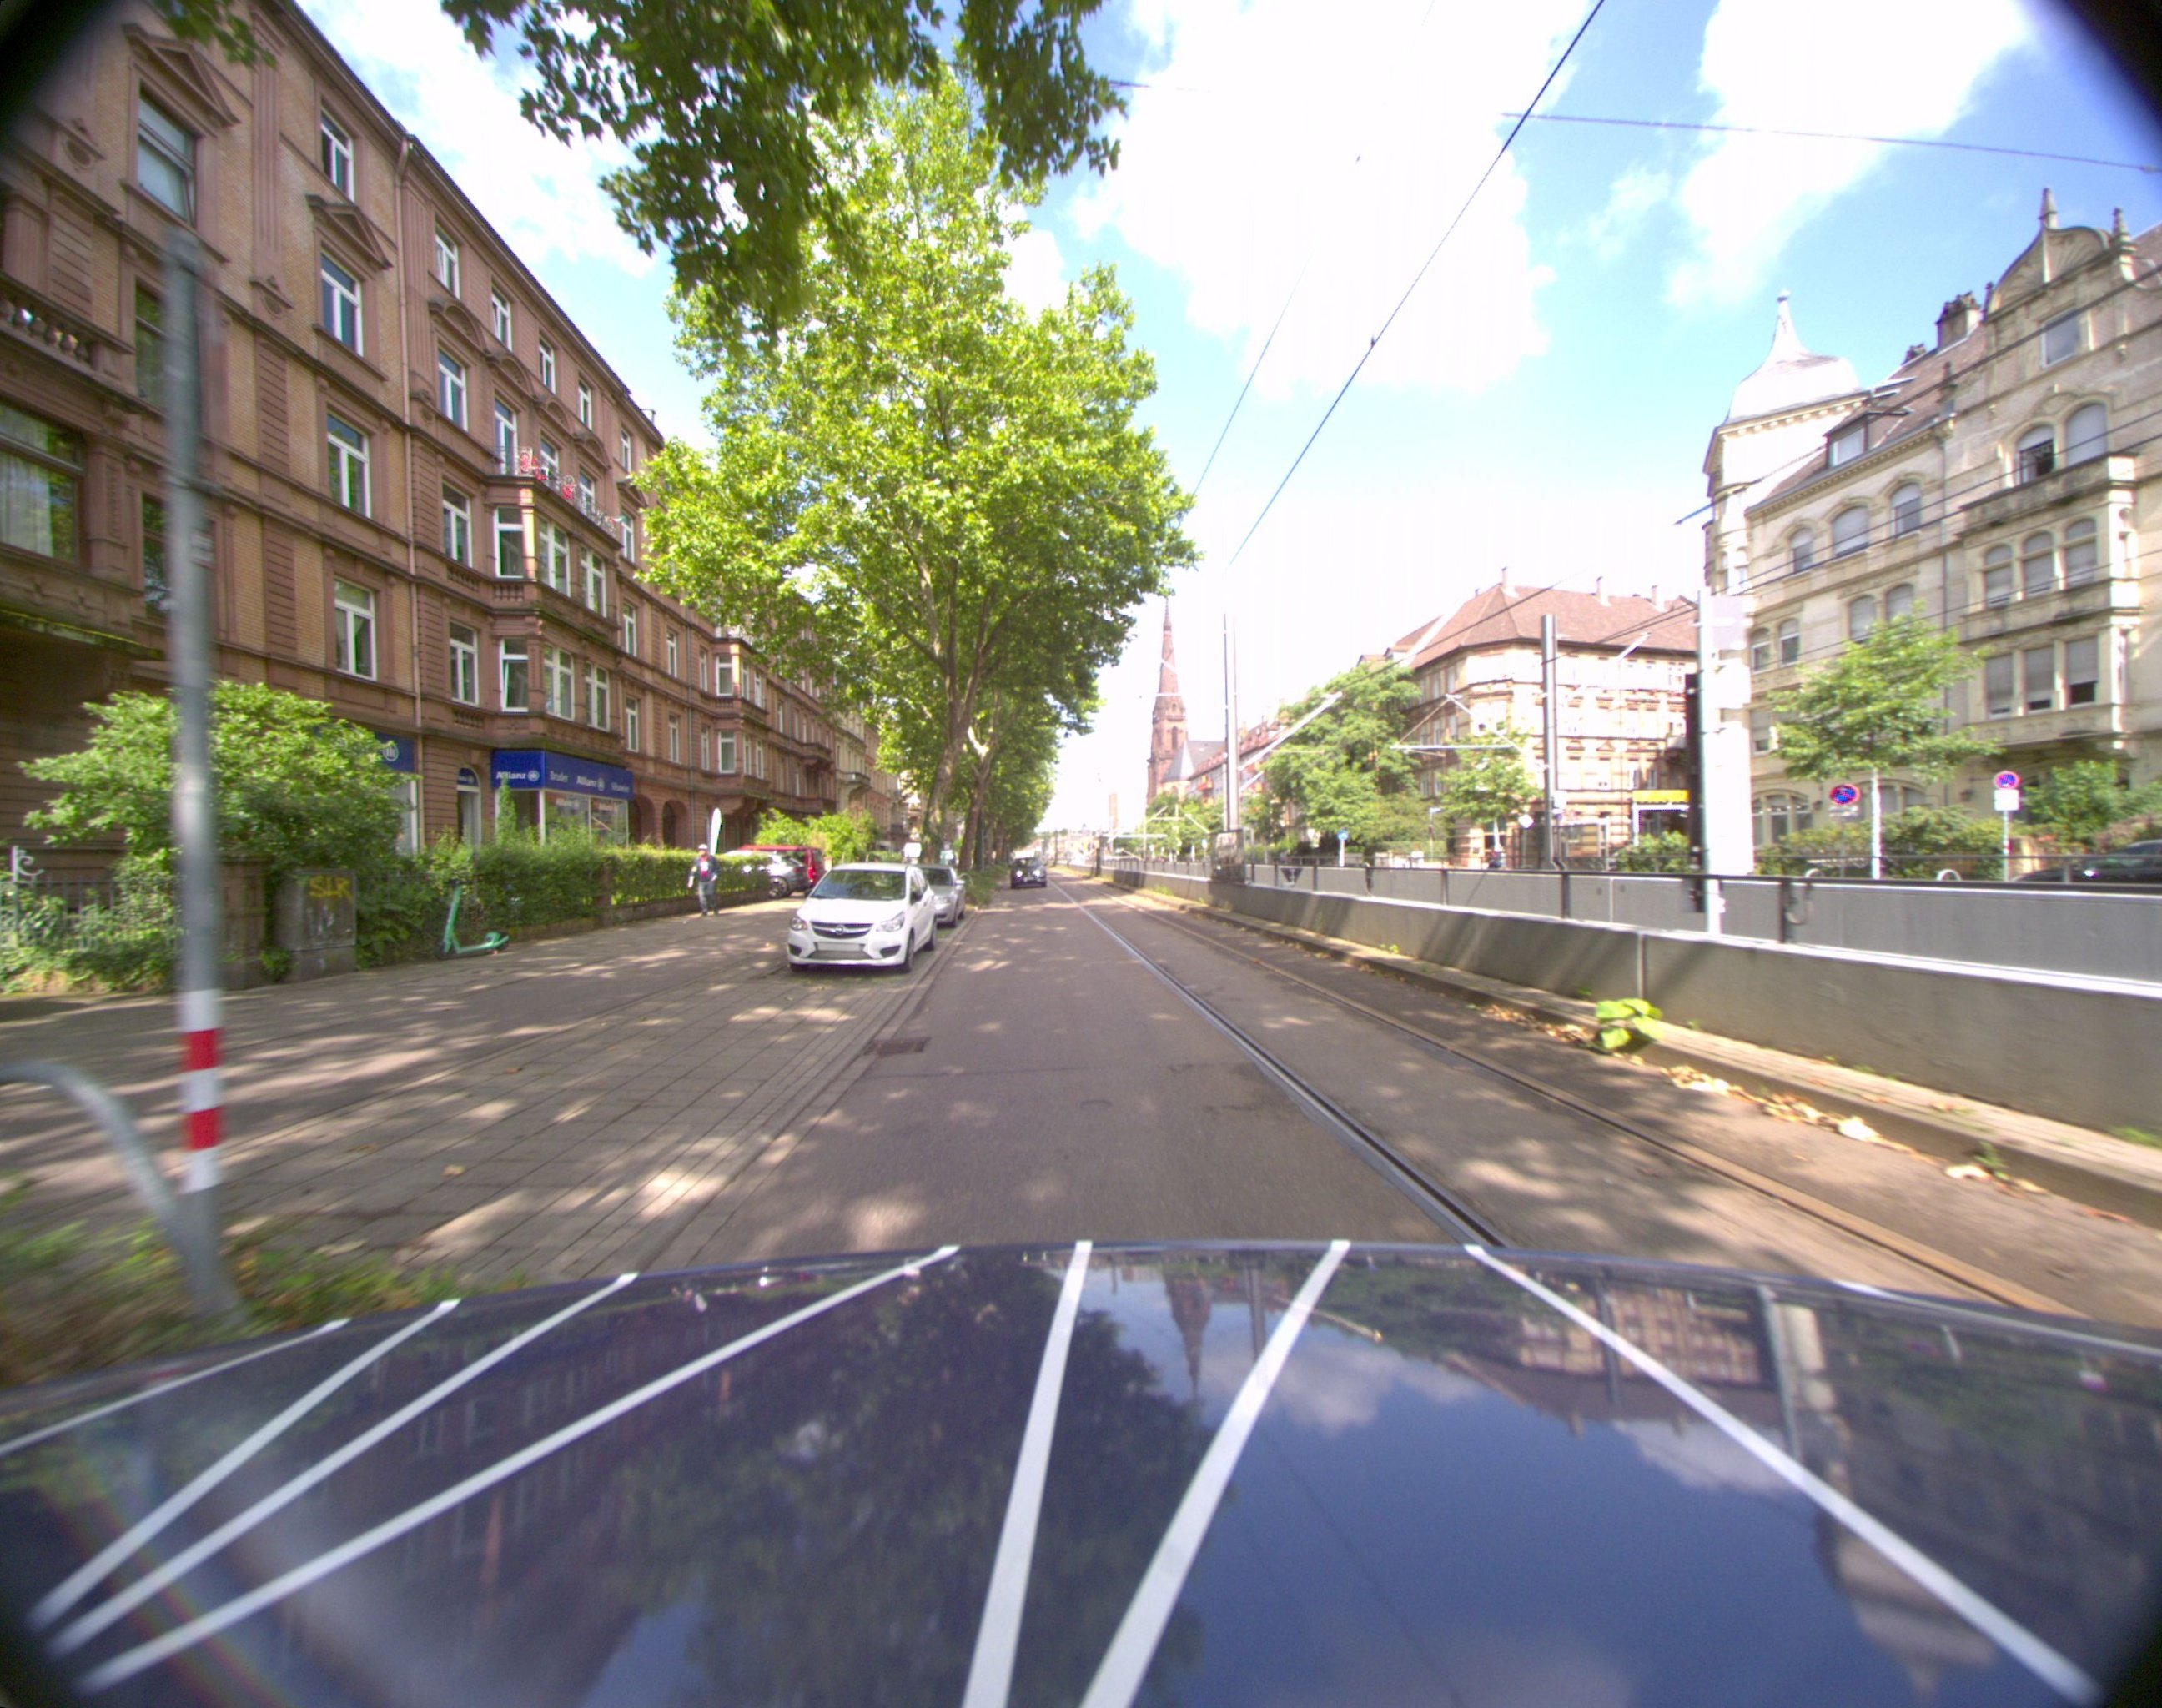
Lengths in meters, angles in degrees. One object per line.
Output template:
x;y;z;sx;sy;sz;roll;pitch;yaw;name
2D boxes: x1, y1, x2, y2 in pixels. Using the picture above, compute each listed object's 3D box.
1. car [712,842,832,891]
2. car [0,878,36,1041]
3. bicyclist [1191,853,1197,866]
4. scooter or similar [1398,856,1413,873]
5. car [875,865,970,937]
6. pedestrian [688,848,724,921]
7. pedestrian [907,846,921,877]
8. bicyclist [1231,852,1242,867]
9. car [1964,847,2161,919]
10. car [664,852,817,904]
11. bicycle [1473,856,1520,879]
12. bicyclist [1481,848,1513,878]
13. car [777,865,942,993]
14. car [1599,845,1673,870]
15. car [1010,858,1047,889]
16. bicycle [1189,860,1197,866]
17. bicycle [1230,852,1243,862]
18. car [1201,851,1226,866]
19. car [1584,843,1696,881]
-13.361;0.539;33.062;4.409;1.927;1.983;2;0;-4;car
-11.833;0.951;5.985;4.246;1.460;1.941;0;0;-4;car
13.553;0.666;91.278;0.505;1.535;0.607;-1;1;-5;bicyclist
22.292;0.716;52.195;0.377;1.076;1.287;-4;0;-4;scooter or similar
-3.611;1.004;17.924;1.682;1.435;3.857;-1;0;-4;car
-9.269;0.749;18.806;0.565;1.776;0.630;-1;1;-4;pedestrian
-11.087;0.497;50.415;0.766;2.002;1.119;1;0;-9;pedestrian
14.880;0.546;72.698;0.741;1.470;0.977;0;0;-5;bicyclist
21.116;0.534;14.907;1.954;1.319;4.724;-1;0;-3;car
-12.239;0.836;27.660;4.737;1.772;2.003;0;0;-12;car
18.267;0.589;33.468;0.778;0.973;2.140;1;0;-3;bicycle
18.279;0.390;33.428;0.770;1.330;1.048;1;0;-3;bicyclist
-3.137;0.968;11.488;1.558;1.477;3.857;-2;0;-4;car
36.365;0.224;49.787;4.003;1.527;1.922;-1;1;-17;car
-2.687;0.947;39.514;1.800;1.454;4.566;-1;0;-3;car
13.410;1.053;91.201;0.497;0.764;1.816;-1;0;-4;bicycle
14.857;0.286;72.621;0.728;0.990;1.898;0;0;-4;bicycle
15.744;0.529;90.364;1.999;1.628;4.112;-1;0;-4;car
25.643;0.353;34.906;3.964;1.597;2.034;-2;0;-13;car
